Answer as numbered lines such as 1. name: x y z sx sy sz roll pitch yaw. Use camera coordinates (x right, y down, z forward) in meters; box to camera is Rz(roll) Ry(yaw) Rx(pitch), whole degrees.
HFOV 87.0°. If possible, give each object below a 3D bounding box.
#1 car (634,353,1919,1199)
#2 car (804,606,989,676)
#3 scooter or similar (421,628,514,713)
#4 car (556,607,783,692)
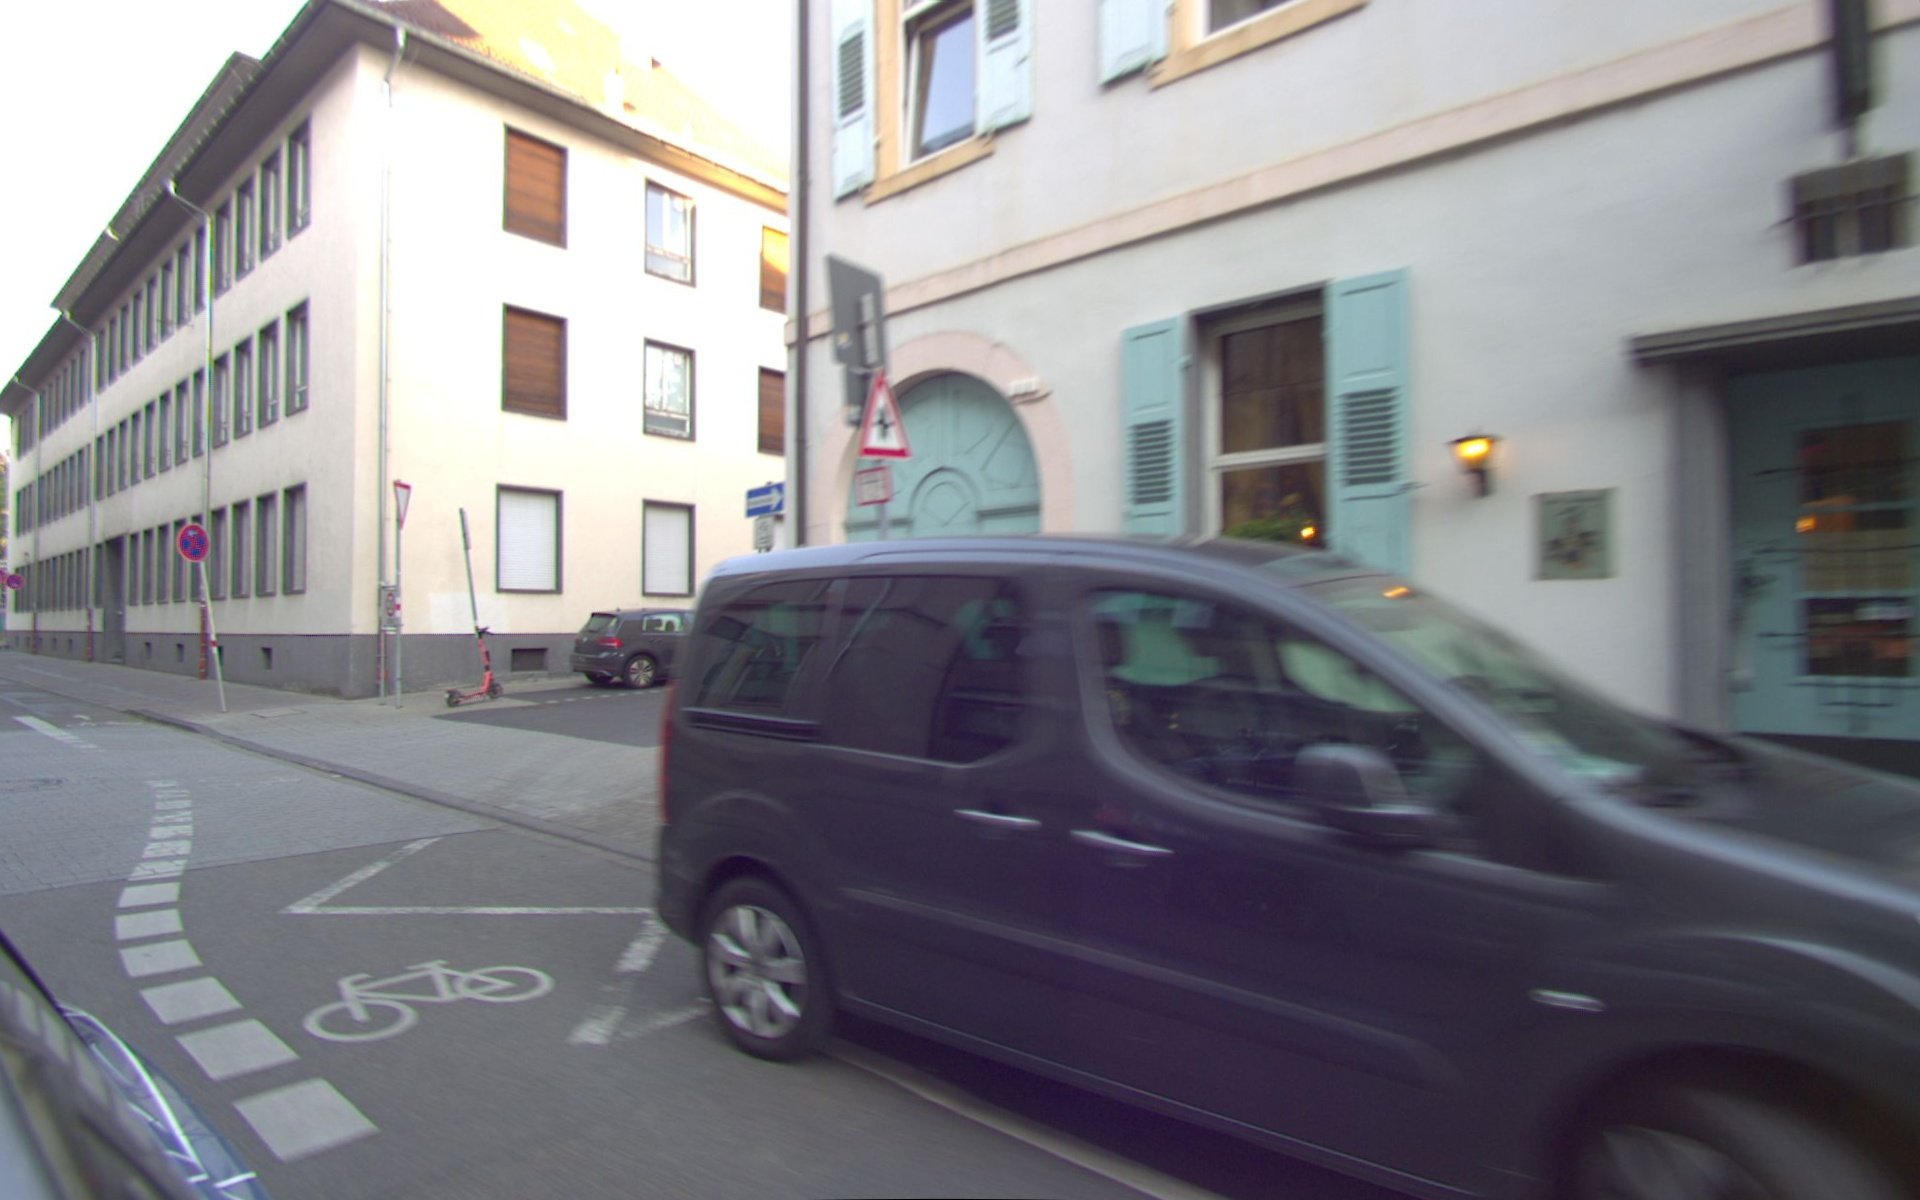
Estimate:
1. car: 1.102 0.548 3.117 4.444 1.825 1.859 -1 -1 38
2. car: -1.404 0.888 23.585 1.729 1.451 4.205 1 1 45
3. scooter or similar: -7.849 1.100 16.179 0.528 1.210 1.358 -1 1 17
4. car: -5.550 0.885 19.630 1.729 1.451 3.913 -2 -1 44
